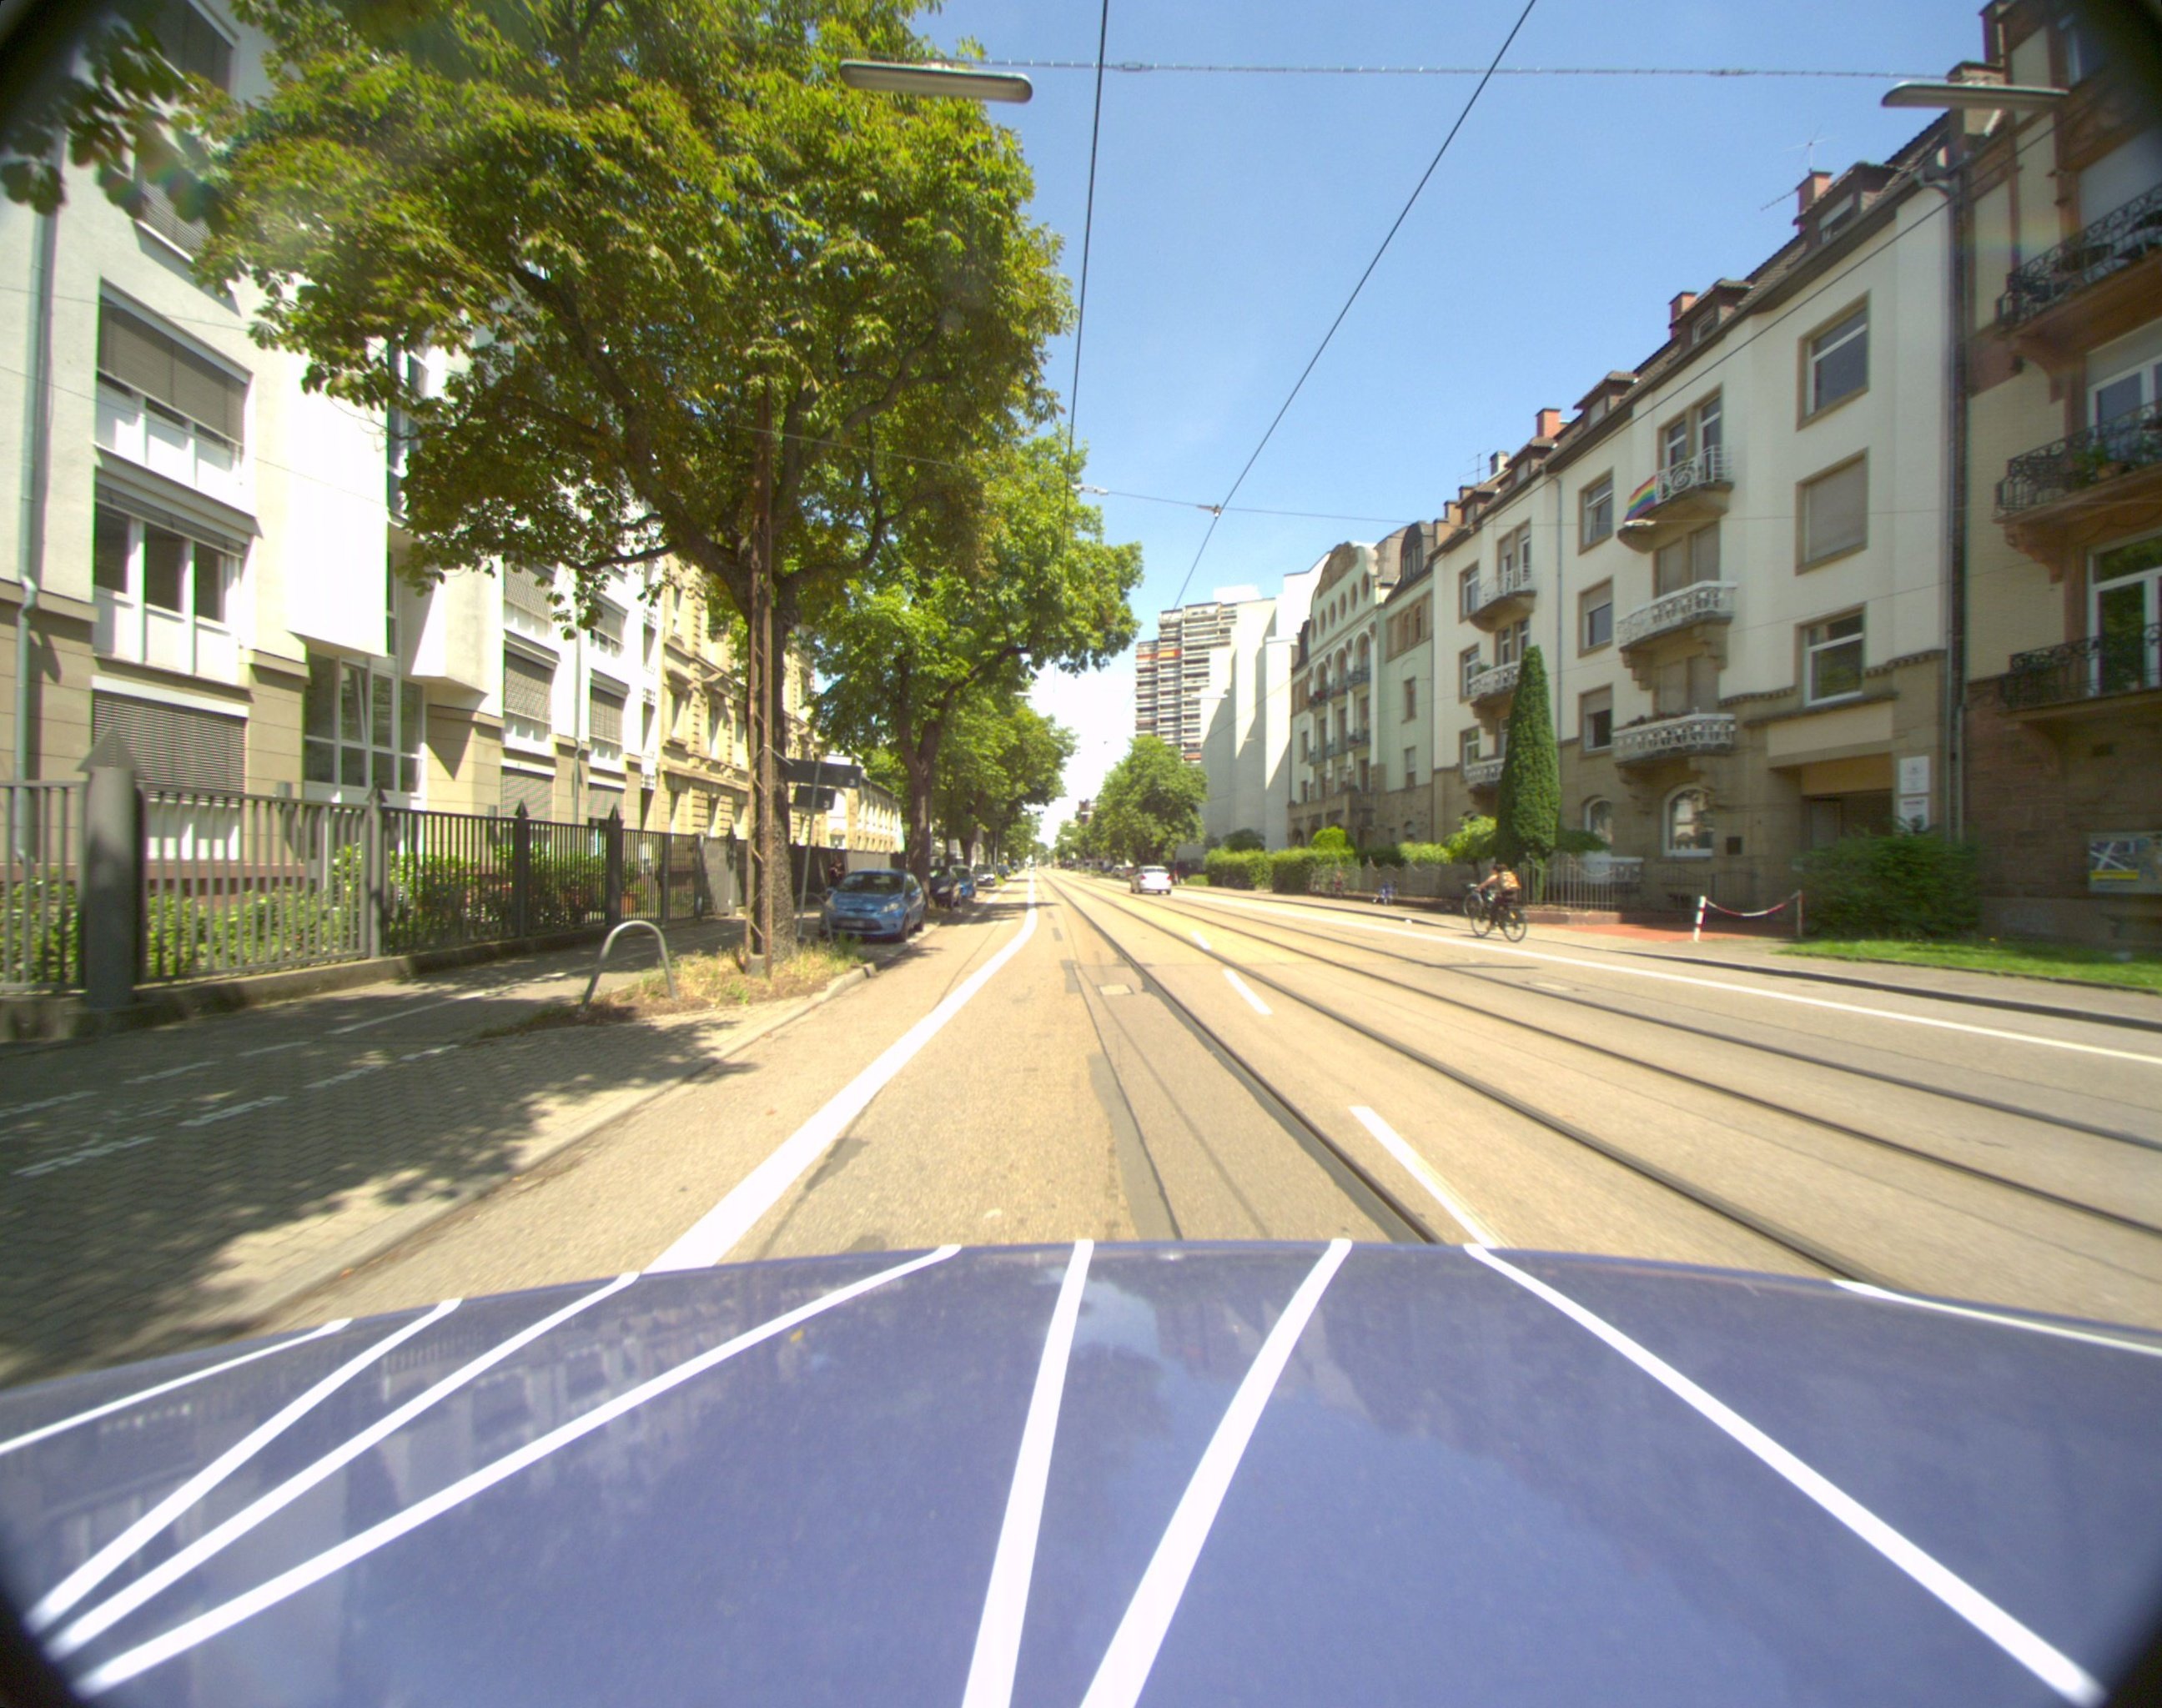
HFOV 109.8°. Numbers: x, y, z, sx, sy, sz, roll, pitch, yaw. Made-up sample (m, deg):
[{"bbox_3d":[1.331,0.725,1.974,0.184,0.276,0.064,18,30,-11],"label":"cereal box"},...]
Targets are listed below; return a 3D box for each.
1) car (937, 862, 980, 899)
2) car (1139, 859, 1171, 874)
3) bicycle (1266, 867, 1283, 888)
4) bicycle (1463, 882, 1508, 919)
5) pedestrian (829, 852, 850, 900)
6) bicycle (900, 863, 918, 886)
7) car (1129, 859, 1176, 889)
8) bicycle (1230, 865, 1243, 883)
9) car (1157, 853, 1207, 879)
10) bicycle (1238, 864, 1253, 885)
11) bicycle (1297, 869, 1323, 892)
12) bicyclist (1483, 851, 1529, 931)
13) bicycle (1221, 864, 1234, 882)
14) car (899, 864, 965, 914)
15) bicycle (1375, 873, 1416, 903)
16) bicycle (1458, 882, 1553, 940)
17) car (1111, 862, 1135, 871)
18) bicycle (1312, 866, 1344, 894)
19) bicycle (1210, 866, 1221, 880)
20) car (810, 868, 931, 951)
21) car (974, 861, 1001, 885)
[{"bbox_3d":[-5.578,1.186,34.805,1.615,1.488,3.581,2,1,-5],"label":"car"},{"bbox_3d":[7.529,1.229,77.048,1.636,1.540,3.816,0,0,35],"label":"car"},{"bbox_3d":[9.965,1.195,39.139,0.290,1.040,1.899,0,0,-4],"label":"bicycle"},{"bbox_3d":[11.048,1.245,20.780,0.253,0.911,1.614,0,0,-4],"label":"bicycle"},{"bbox_3d":[-8.624,0.791,27.150,0.547,1.683,0.755,1,1,-4],"label":"pedestrian"},{"bbox_3d":[-9.862,1.151,43.542,0.689,1.217,2.118,0,0,-4],"label":"bicycle"},{"bbox_3d":[3.658,1.009,39.380,1.713,1.404,3.823,2,0,-6],"label":"car"},{"bbox_3d":[9.404,1.202,46.050,0.340,1.062,1.727,0,0,-4],"label":"bicycle"},{"bbox_3d":[8.116,0.937,60.816,3.916,1.958,1.908,-1,1,-44],"label":"car"},{"bbox_3d":[9.530,1.174,44.110,0.340,1.157,1.932,0,0,-4],"label":"bicycle"},{"bbox_3d":[10.175,1.175,33.760,0.400,0.965,2.046,0,0,-4],"label":"bicycle"},{"bbox_3d":[8.917,0.769,15.966,0.612,1.653,0.579,1,0,-4],"label":"bicyclist"},{"bbox_3d":[9.255,1.202,48.026,0.340,1.062,1.727,0,0,-4],"label":"bicycle"},{"bbox_3d":[-5.041,1.153,26.165,1.682,1.488,3.917,2,0,-4],"label":"car"},{"bbox_3d":[10.657,1.149,25.785,0.463,0.943,1.953,0,0,-4],"label":"bicycle"},{"bbox_3d":[8.920,1.171,16.075,0.646,1.068,2.186,1,0,-4],"label":"bicycle"},{"bbox_3d":[5.777,1.697,104.010,1.491,1.259,3.491,0,0,42],"label":"car"},{"bbox_3d":[10.258,1.057,31.618,0.493,1.090,2.046,0,0,-4],"label":"bicycle"},{"bbox_3d":[9.089,1.272,51.361,0.340,0.935,1.727,-2,0,-4],"label":"bicycle"},{"bbox_3d":[-4.410,1.099,16.515,1.688,1.453,3.998,2,0,-3],"label":"car"},{"bbox_3d":[-6.557,1.345,53.562,1.648,1.587,4.114,2,-1,-5],"label":"car"}]
